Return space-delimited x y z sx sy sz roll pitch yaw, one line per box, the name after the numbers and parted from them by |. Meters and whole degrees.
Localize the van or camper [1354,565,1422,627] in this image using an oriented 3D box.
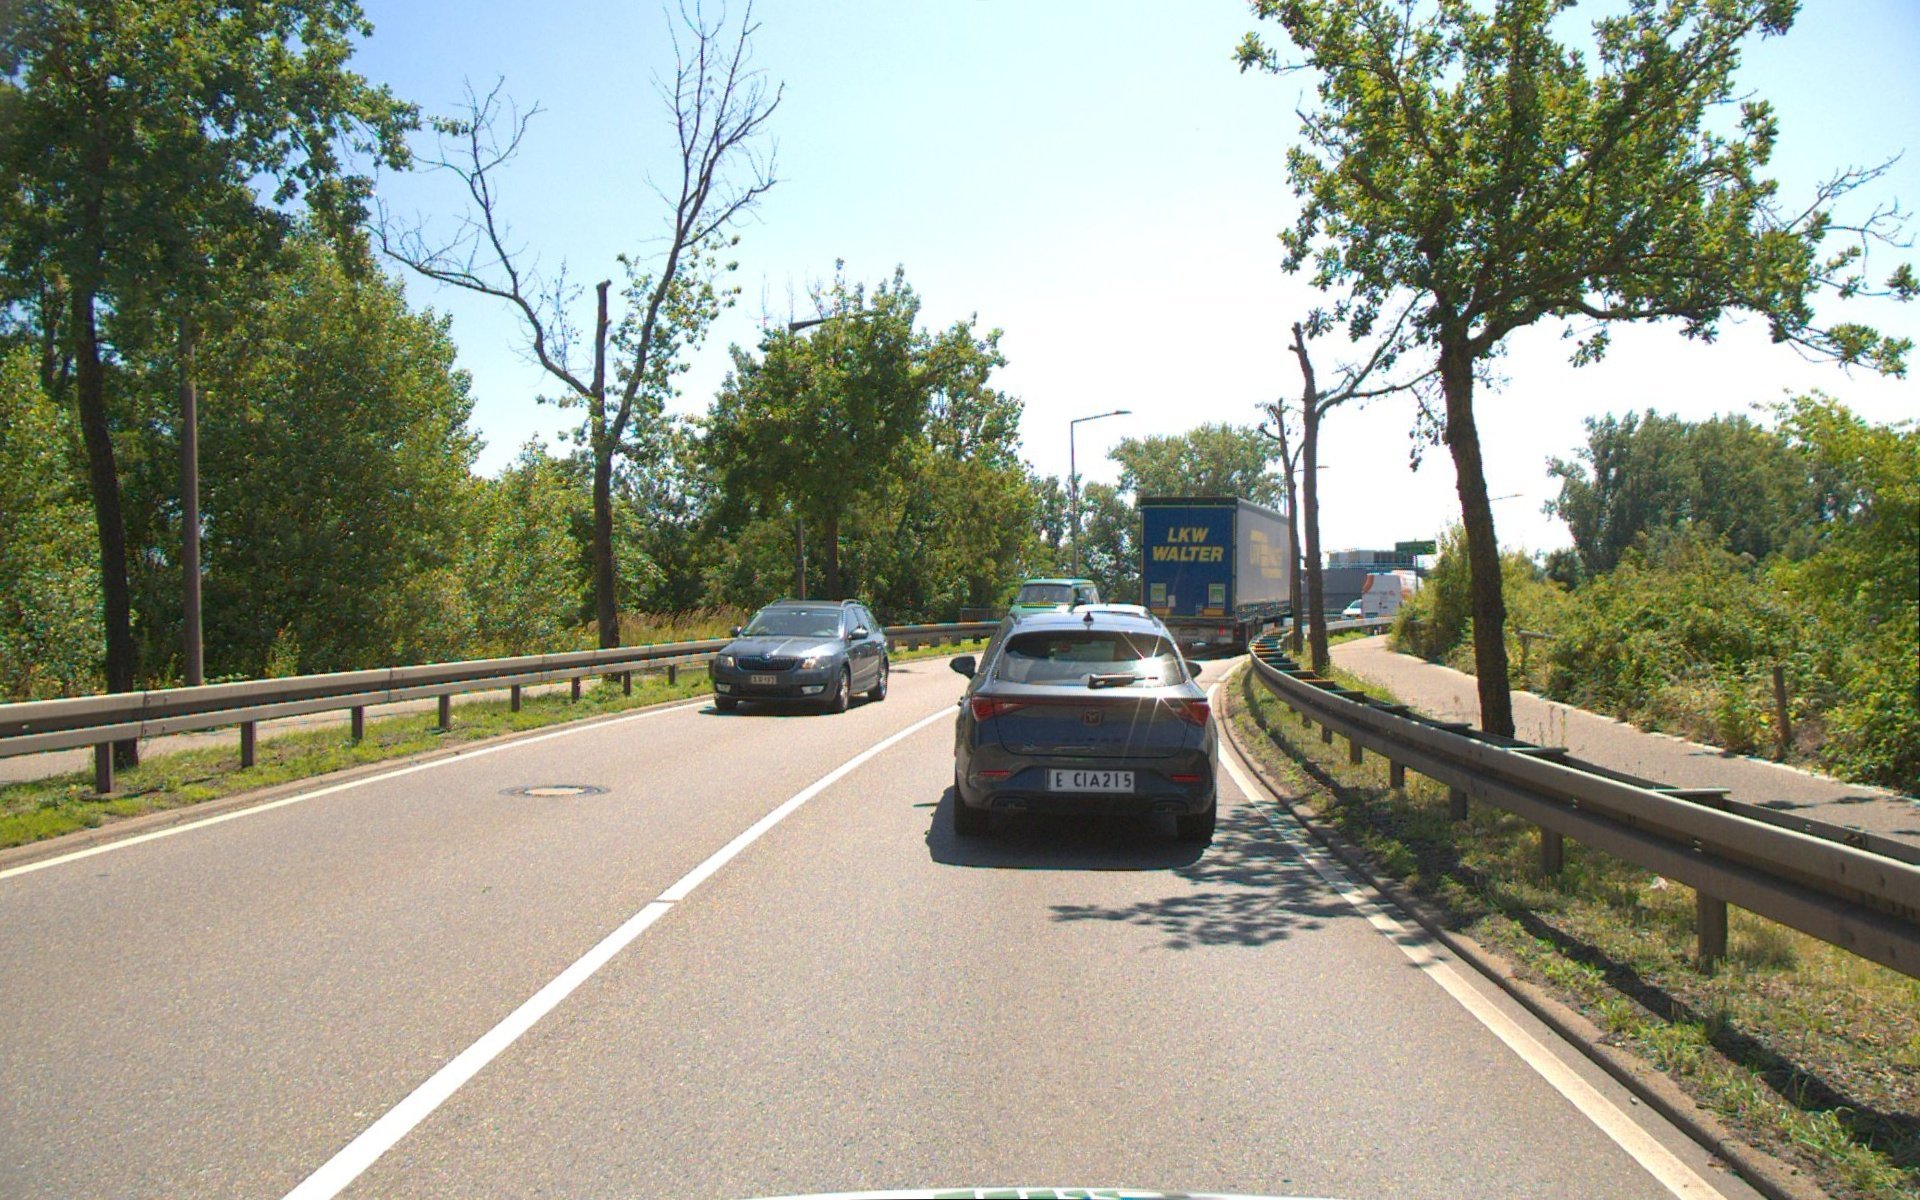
20.017 -0.200 77.147 2.159 2.758 5.923 0 0 24 | van or camper

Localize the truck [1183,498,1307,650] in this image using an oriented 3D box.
9.529 -0.788 54.707 3.103 4.665 7.400 1 0 17 | truck

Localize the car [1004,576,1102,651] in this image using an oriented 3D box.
2.632 0.346 45.683 1.791 1.972 4.779 0 0 15 | car

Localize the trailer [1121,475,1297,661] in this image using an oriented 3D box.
7.576 -0.820 48.283 3.068 4.694 12.955 1 0 17 | trailer

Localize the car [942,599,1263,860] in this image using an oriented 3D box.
0.824 0.762 11.656 1.808 1.525 3.756 0 0 -2 | car

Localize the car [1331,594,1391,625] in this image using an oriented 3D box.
21.028 0.496 86.658 1.978 1.570 3.751 0 0 31 | car

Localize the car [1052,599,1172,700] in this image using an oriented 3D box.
2.522 0.745 26.802 1.559 1.486 3.548 1 0 11 | car

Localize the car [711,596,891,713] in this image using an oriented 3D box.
-2.110 0.679 23.182 1.707 1.472 4.519 0 0 5 | car
